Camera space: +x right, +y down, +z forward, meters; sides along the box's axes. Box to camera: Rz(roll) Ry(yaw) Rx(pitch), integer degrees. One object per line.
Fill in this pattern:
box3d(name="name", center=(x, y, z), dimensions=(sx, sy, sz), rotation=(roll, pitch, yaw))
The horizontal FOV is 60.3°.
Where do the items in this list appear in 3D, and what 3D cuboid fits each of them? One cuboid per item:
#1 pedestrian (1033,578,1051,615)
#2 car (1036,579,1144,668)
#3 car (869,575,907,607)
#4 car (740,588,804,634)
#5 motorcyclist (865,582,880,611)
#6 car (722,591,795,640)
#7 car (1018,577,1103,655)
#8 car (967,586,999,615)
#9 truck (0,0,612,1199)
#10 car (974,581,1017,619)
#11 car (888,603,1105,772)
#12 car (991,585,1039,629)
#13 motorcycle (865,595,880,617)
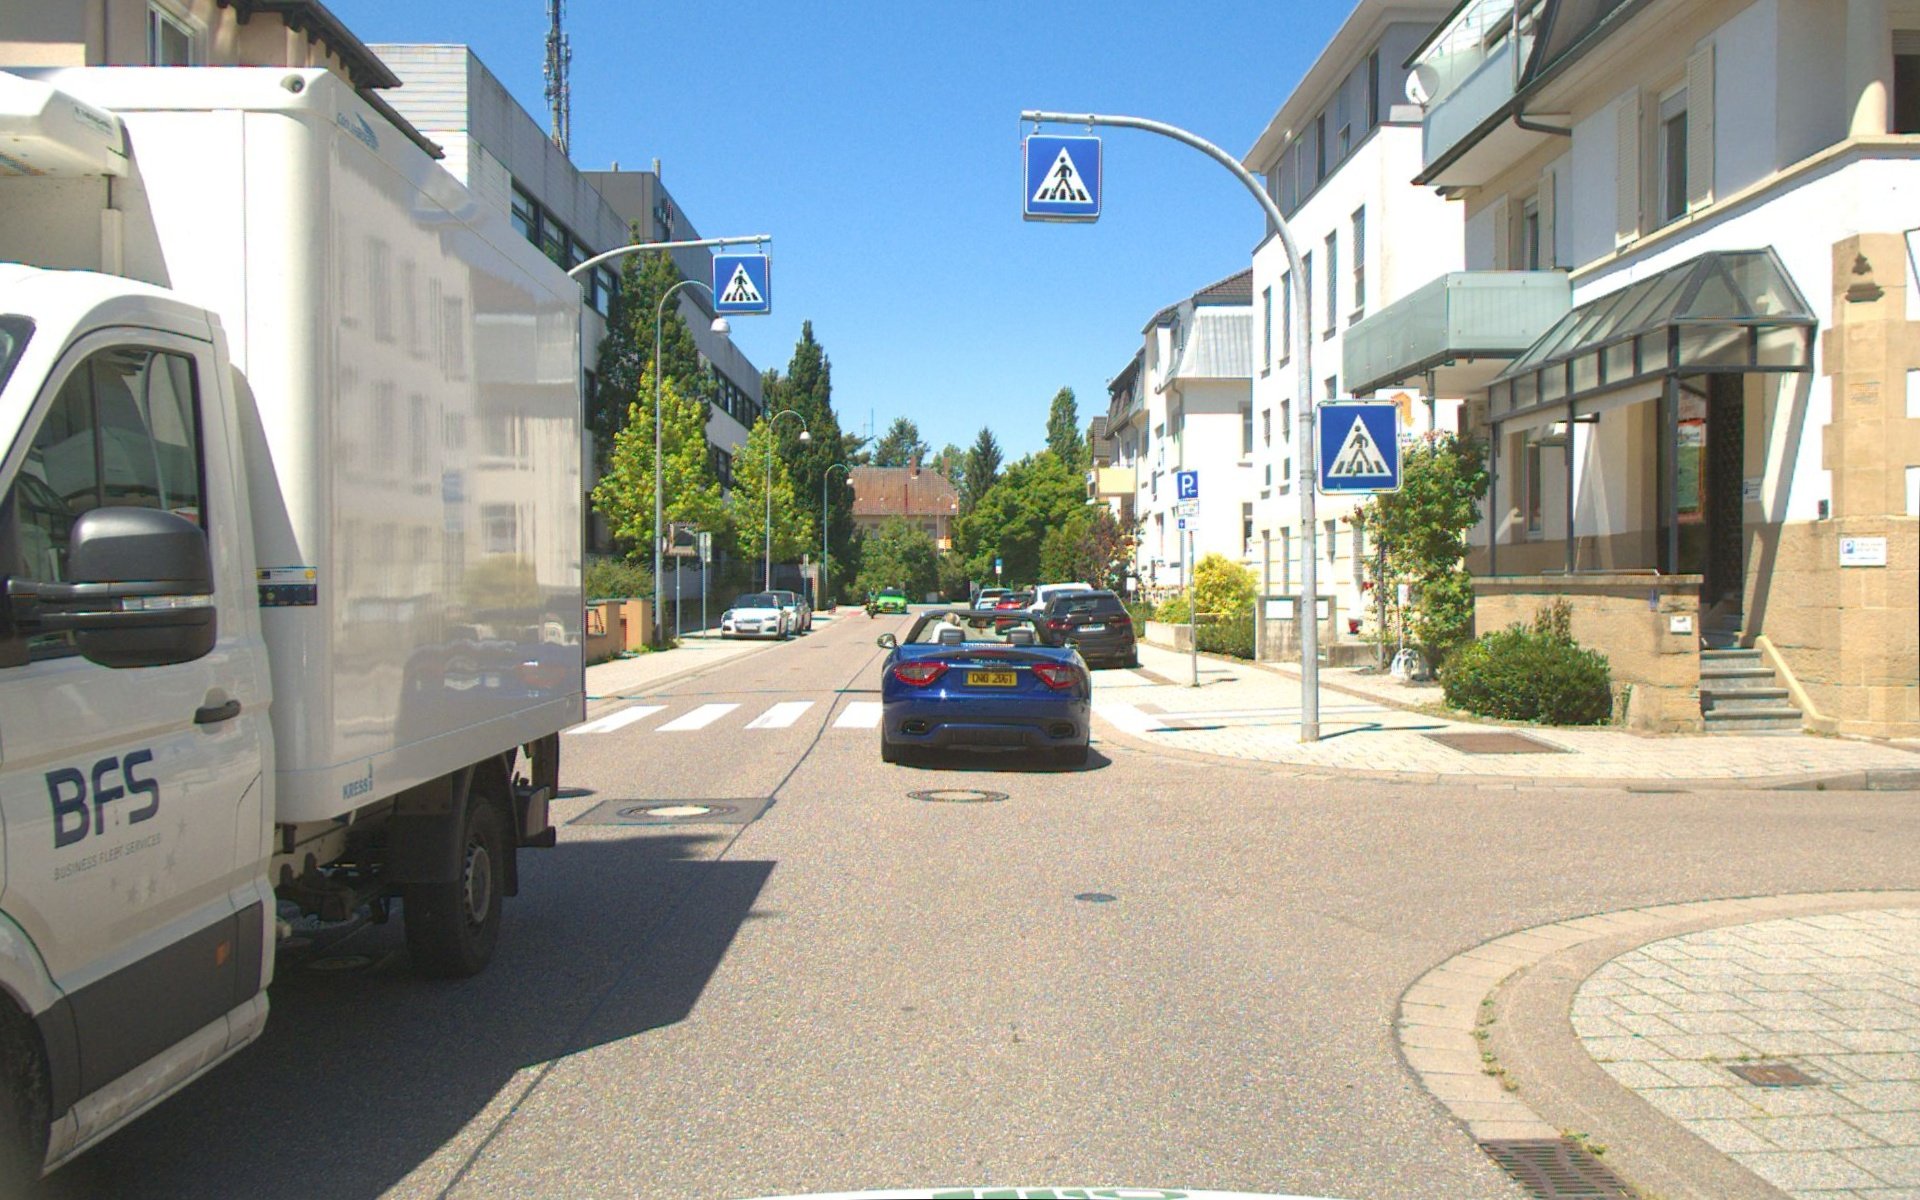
box3d(name="pedestrian", center=(3.804, -0.166, 76.939), dimensions=(0.725, 1.698, 0.705), rotation=(-3, 0, -2))
box3d(name="car", center=(2.513, 0.414, 33.014), dimensions=(1.670, 1.583, 4.747), rotation=(-3, 0, -1))
box3d(name="car", center=(-4.445, -0.575, 101.691), dimensions=(1.789, 1.615, 4.093), rotation=(1, 4, -10))
box3d(name="car", center=(-6.587, 0.354, 58.264), dimensions=(1.785, 1.538, 4.289), rotation=(0, 0, -1))
box3d(name="motorcyclist", center=(-4.531, -0.165, 85.584), dimensions=(0.684, 1.458, 0.707), rotation=(-2, 0, -1))
box3d(name="car", center=(-6.405, 0.460, 52.936), dimensions=(1.785, 1.436, 4.576), rotation=(2, 0, -1))
box3d(name="car", center=(2.326, 0.337, 39.324), dimensions=(1.670, 1.695, 4.579), rotation=(-2, 0, -1))
box3d(name="car", center=(1.247, 0.018, 92.118), dimensions=(1.598, 1.471, 4.397), rotation=(-3, 1, -1))
box3d(name="truck", center=(-2.874, -0.080, 5.010), dimensions=(2.370, 3.035, 6.256), rotation=(-1, 0, -1))
box3d(name="car", center=(1.640, -0.012, 77.503), dimensions=(1.806, 1.647, 4.427), rotation=(-2, 0, 0))
box3d(name="car", center=(0.265, 0.730, 16.066), dimensions=(1.789, 1.360, 4.699), rotation=(1, 0, -1))
box3d(name="car", center=(1.978, 0.238, 60.540), dimensions=(1.571, 1.466, 3.853), rotation=(-3, 0, 0))
box3d(name="motorcycle", center=(-4.529, 0.304, 85.631), dimensions=(0.684, 1.126, 1.790), rotation=(-2, 0, -1))
